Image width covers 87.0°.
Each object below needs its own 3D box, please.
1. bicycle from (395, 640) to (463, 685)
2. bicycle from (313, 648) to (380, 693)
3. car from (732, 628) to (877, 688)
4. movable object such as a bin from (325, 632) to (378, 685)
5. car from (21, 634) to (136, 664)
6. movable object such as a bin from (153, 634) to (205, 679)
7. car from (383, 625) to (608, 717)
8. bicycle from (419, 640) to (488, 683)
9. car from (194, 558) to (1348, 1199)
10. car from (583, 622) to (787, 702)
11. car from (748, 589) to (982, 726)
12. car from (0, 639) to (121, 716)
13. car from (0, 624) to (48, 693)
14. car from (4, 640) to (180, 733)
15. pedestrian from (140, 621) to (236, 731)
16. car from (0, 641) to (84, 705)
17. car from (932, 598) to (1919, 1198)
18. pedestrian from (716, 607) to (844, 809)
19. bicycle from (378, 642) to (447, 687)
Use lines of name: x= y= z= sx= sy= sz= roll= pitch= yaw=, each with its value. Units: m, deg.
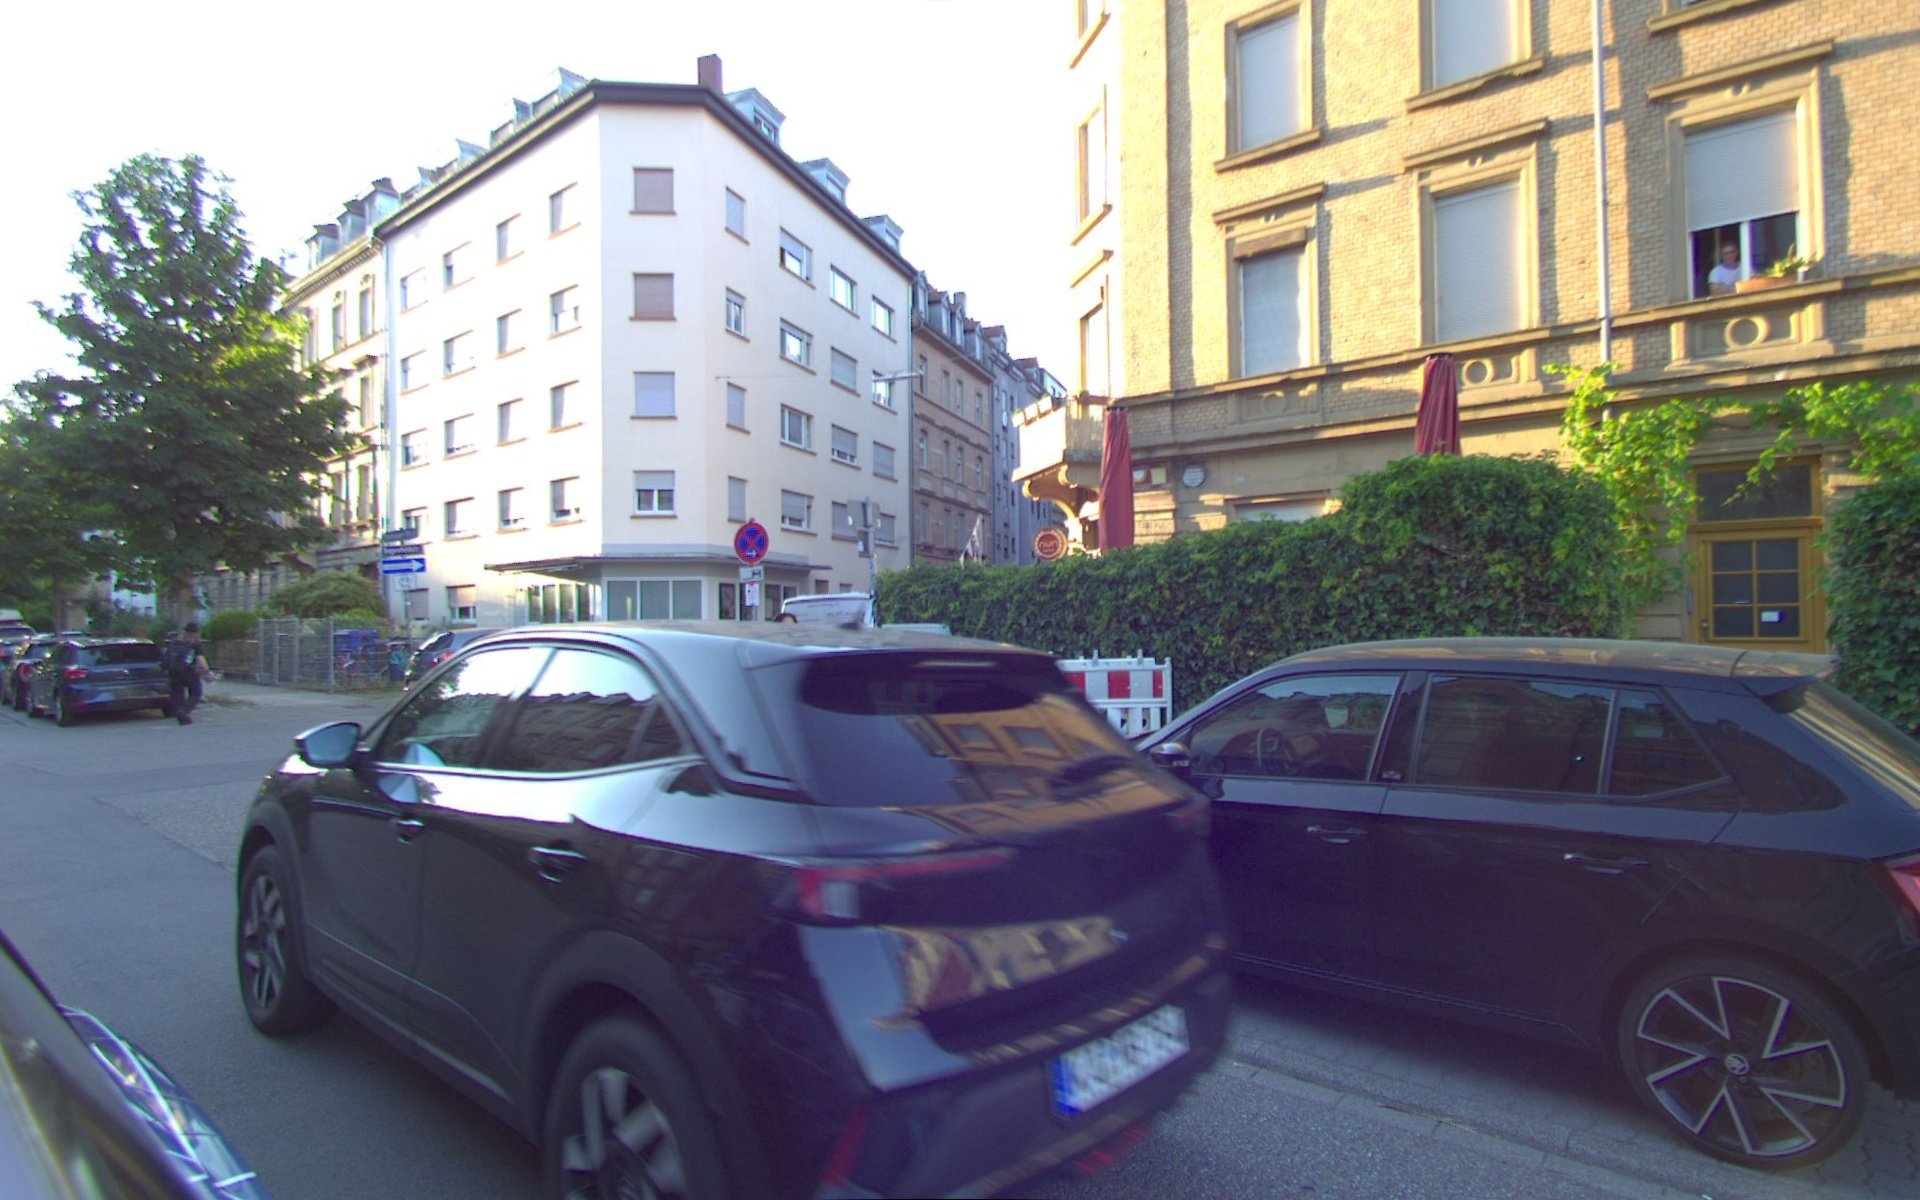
bicycle: x=-14.054 y=1.647 z=26.806 sx=1.528 sy=1.100 sz=0.500 roll=-2 pitch=0 yaw=3
bicycle: x=-15.238 y=1.738 z=25.125 sx=1.927 sy=1.033 sz=0.681 roll=-2 pitch=0 yaw=35
car: x=-4.037 y=1.494 z=26.913 sx=1.986 sy=1.450 sz=4.047 roll=-2 pitch=-2 yaw=23
movable object such as a bin: x=-16.699 y=1.588 z=27.749 sx=1.398 sy=1.362 sz=0.857 roll=-2 pitch=0 yaw=42
car: x=-45.682 y=2.526 z=52.520 sx=1.625 sy=1.351 sz=4.356 roll=-2 pitch=-1 yaw=41
movable object such as a bin: x=-25.472 y=1.837 z=33.013 sx=1.549 sy=1.398 sz=0.937 roll=-2 pitch=0 yaw=37
car: x=-8.862 y=1.306 z=19.482 sx=1.843 sy=1.519 sz=3.471 roll=-3 pitch=-2 yaw=39
bicycle: x=-13.621 y=1.651 z=27.231 sx=1.689 sy=1.100 sz=0.385 roll=-2 pitch=0 yaw=4
car: x=-1.030 y=0.775 z=3.406 sx=3.999 sy=1.529 sz=1.760 roll=-2 pitch=-3 yaw=42
car: x=-6.237 y=1.343 z=23.112 sx=4.007 sy=1.520 sz=1.978 roll=-2 pitch=0 yaw=-38
car: x=-1.397 y=0.912 z=17.513 sx=2.189 sy=1.990 sz=5.265 roll=-2 pitch=-2 yaw=17
car: x=-19.580 y=1.589 z=21.835 sx=4.142 sy=1.431 sz=1.723 roll=-2 pitch=-1 yaw=43
car: x=-27.211 y=1.617 z=28.312 sx=4.618 sy=1.792 sz=1.843 roll=-2 pitch=-1 yaw=39
car: x=-16.009 y=1.493 z=18.589 sx=4.458 sy=1.472 sz=1.658 roll=-2 pitch=-1 yaw=38
pedestrian: x=-12.880 y=1.244 z=16.919 sx=0.877 sy=1.735 sz=0.960 roll=-2 pitch=0 yaw=-8
car: x=-23.502 y=1.755 z=25.172 sx=4.586 sy=1.423 sz=1.843 roll=-2 pitch=-1 yaw=39
car: x=1.876 y=0.807 z=4.252 sx=3.841 sy=1.546 sz=1.686 roll=-2 pitch=-1 yaw=41
pedestrian: x=-1.550 y=0.892 z=8.747 sx=0.785 sy=1.630 sz=0.703 roll=-2 pitch=0 yaw=35
bicycle: x=-14.213 y=1.671 z=26.295 sx=1.528 sy=1.100 sz=0.500 roll=-2 pitch=0 yaw=3
